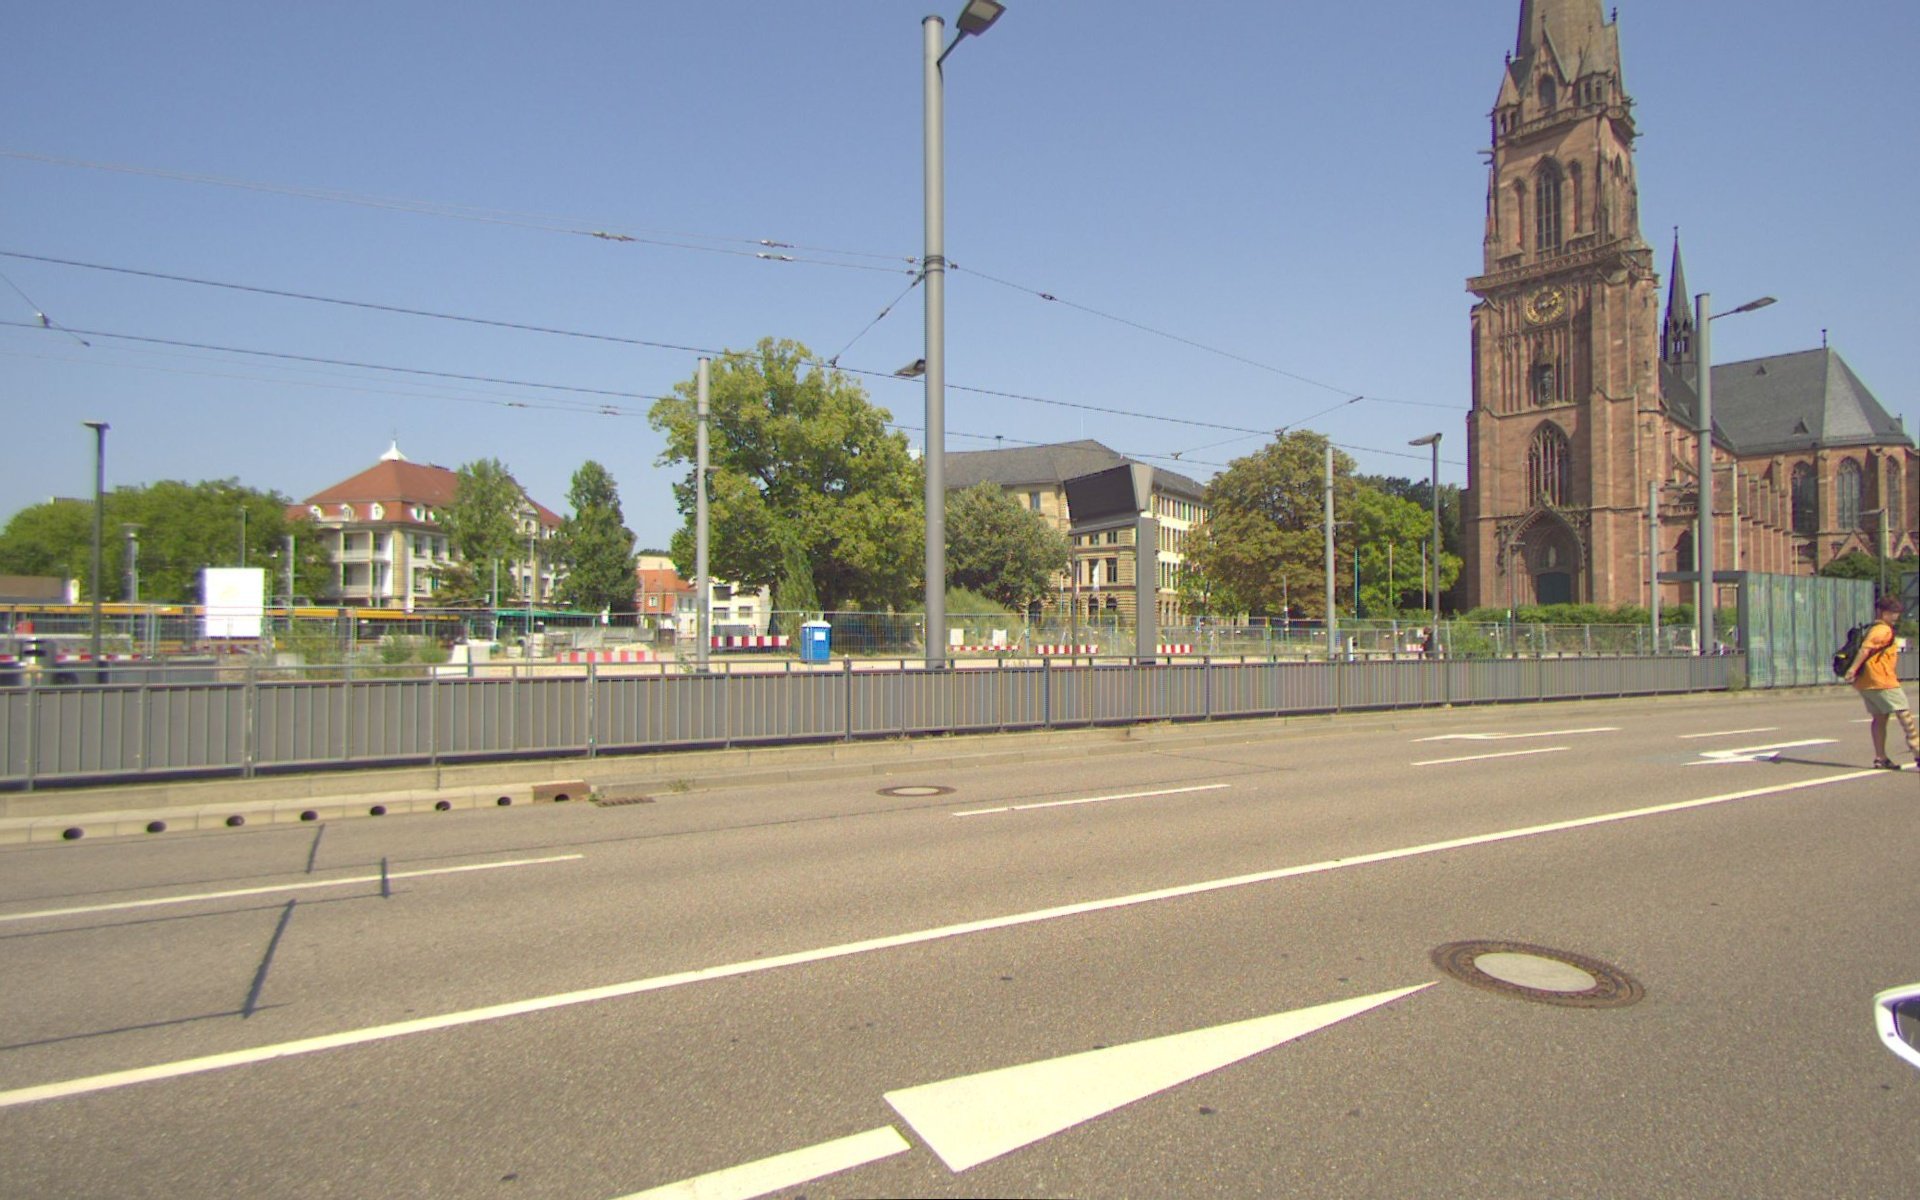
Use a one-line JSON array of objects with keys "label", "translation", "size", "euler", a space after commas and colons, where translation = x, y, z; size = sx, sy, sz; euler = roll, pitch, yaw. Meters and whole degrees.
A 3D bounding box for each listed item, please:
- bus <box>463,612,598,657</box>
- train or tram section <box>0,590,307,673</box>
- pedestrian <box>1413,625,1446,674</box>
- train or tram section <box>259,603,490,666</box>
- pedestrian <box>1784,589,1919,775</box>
[{"label": "bus", "translation": [-32.706, 2.545, 77.438], "size": [2.491, 3.072, 12.442], "euler": [-2, -1, 14]}, {"label": "train or tram section", "translation": [-45.848, 1.918, 56.826], "size": [3.982, 3.972, 16.683], "euler": [-2, -3, 14]}, {"label": "pedestrian", "translation": [17.418, 1.835, 37.267], "size": [0.712, 1.774, 0.825], "euler": [2, -2, -29]}, {"label": "train or tram section", "translation": [-41.686, 2.591, 73.030], "size": [3.982, 3.972, 16.683], "euler": [-2, -3, 14]}, {"label": "pedestrian", "translation": [9.190, 0.805, 10.209], "size": [0.755, 1.774, 1.059], "euler": [2, -2, -33]}]
